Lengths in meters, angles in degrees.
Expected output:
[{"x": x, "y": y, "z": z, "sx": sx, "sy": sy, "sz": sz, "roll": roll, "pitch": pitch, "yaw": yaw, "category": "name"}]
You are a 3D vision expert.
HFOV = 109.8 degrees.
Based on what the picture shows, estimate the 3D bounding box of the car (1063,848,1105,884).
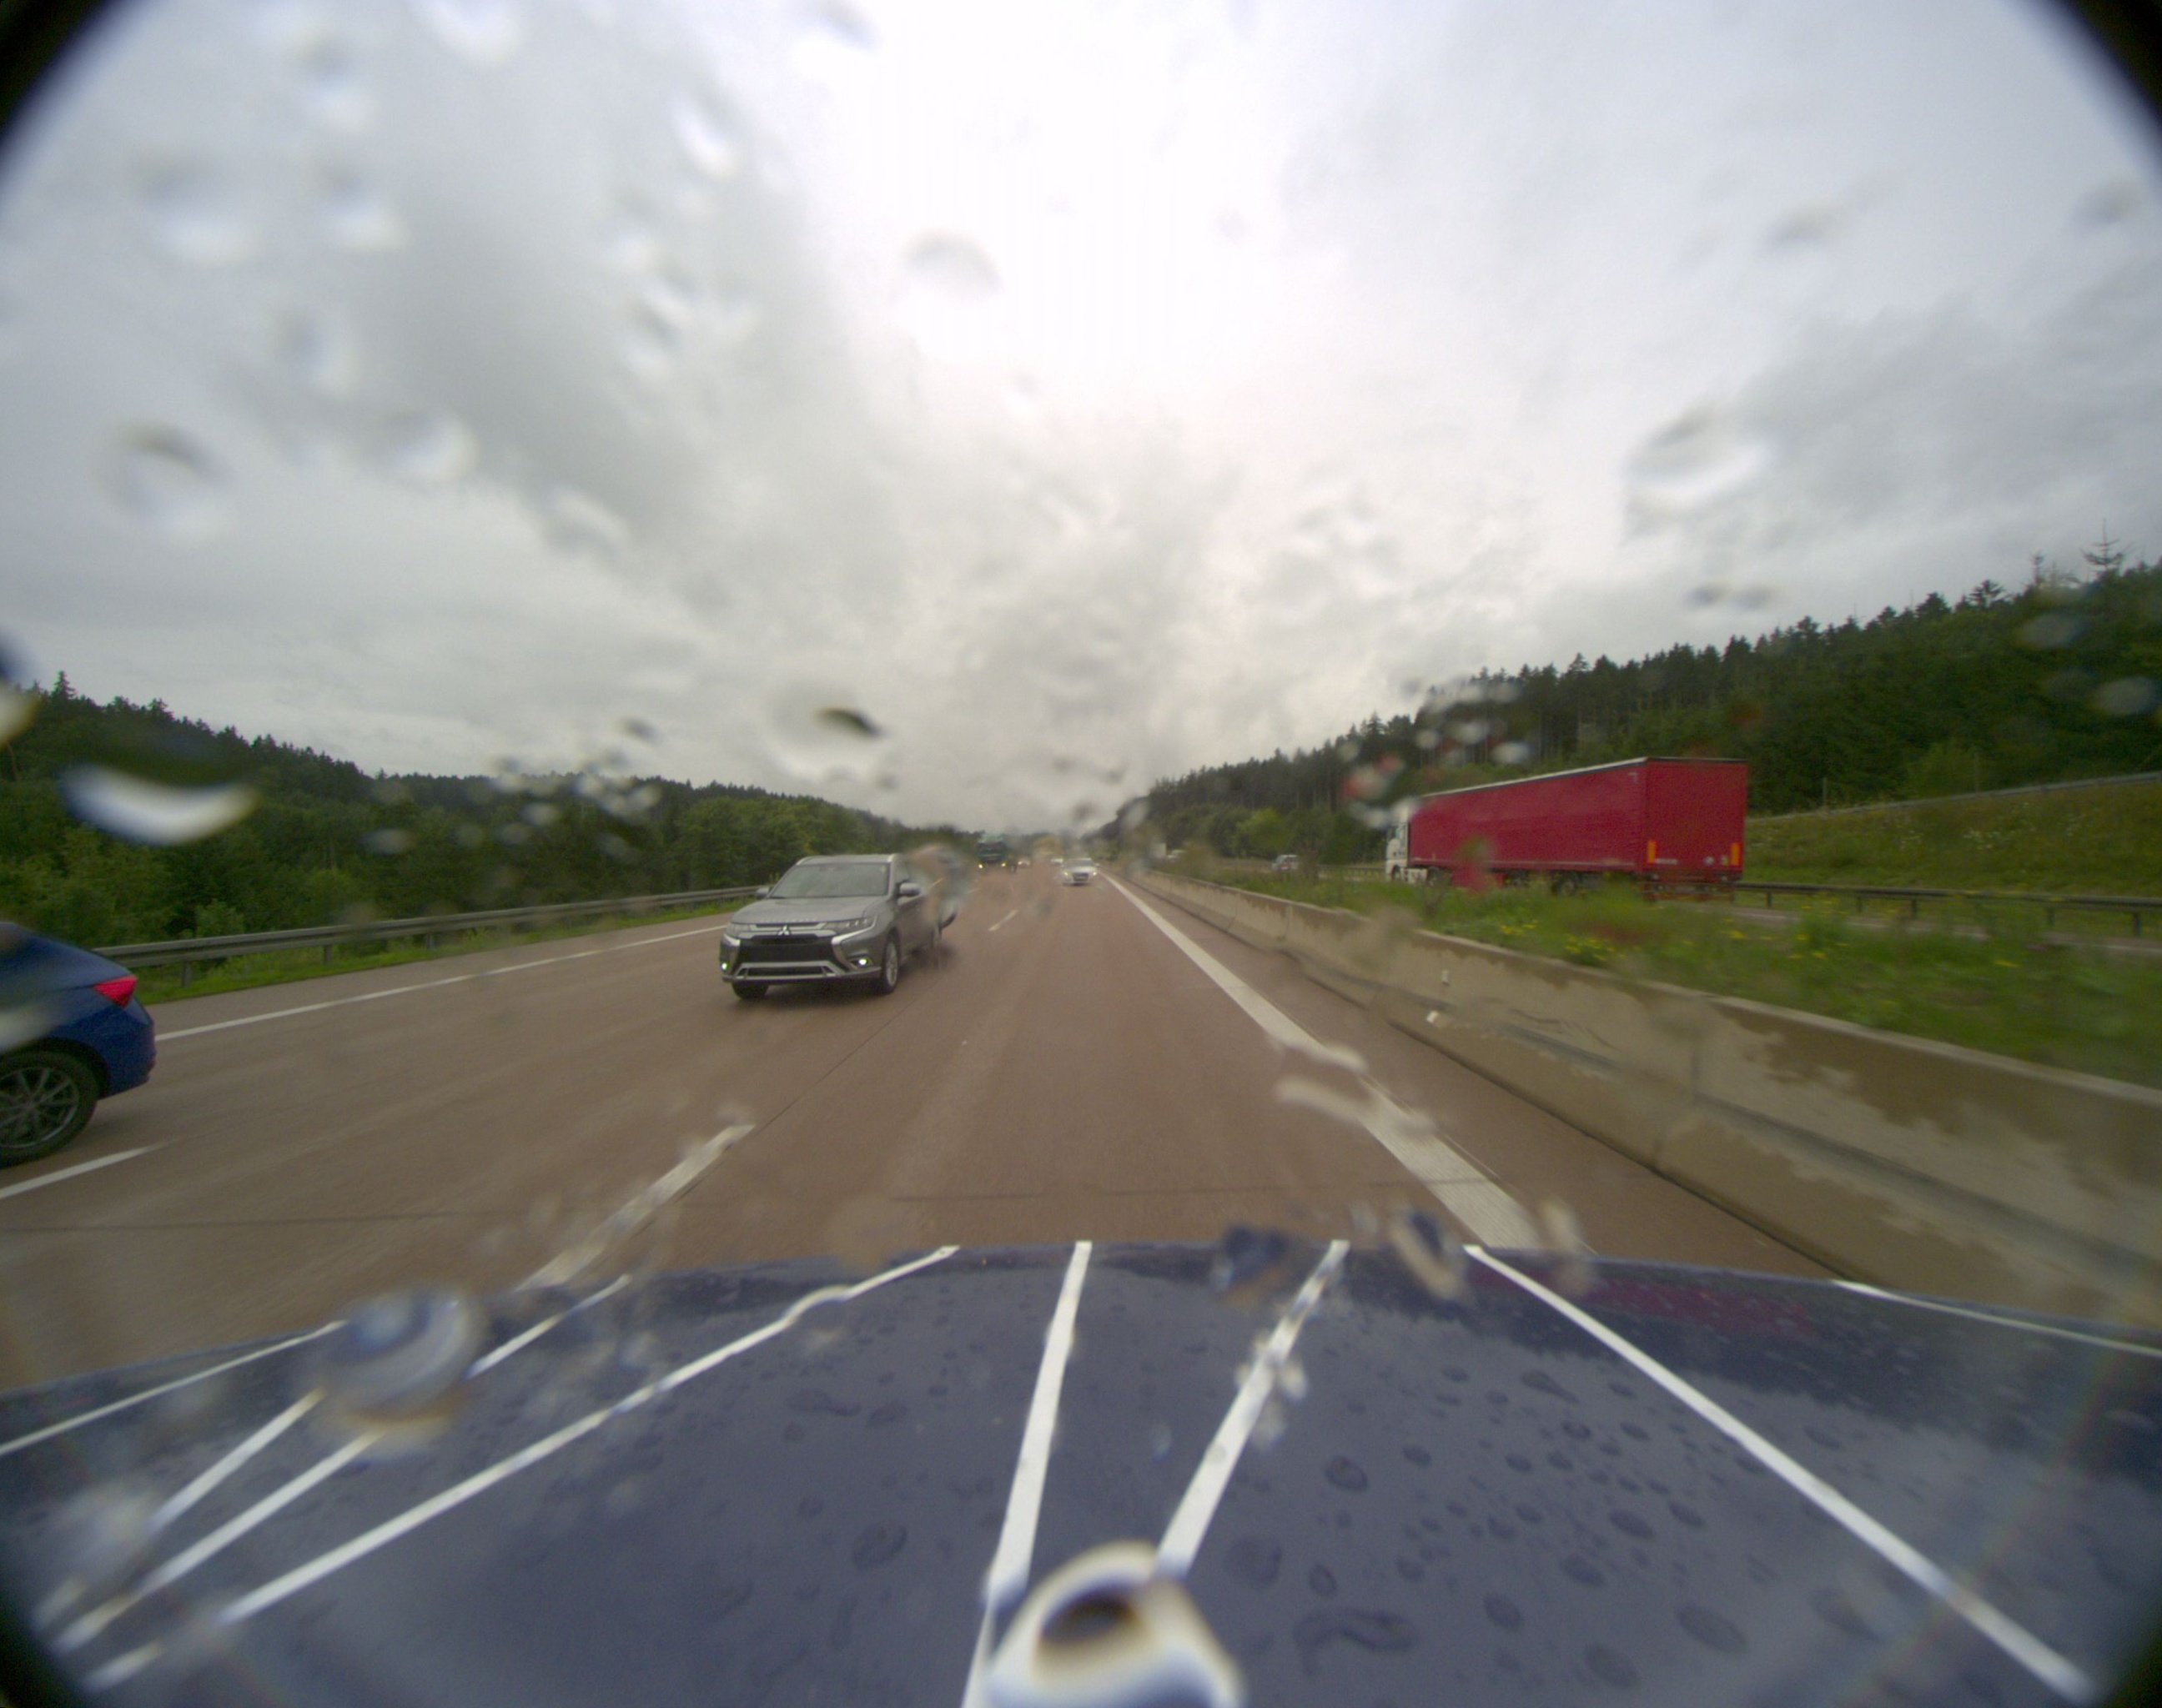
[{"x": 0.105, "y": 0.586, "z": 40.916, "sx": 1.999, "sy": 1.623, "sz": 4.929, "roll": -3, "pitch": 1, "yaw": -2, "category": "car"}]

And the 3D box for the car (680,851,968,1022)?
[{"x": -3.114, "y": 0.859, "z": 10.851, "sx": 1.998, "sy": 1.584, "sz": 5.818, "roll": -3, "pitch": 1, "yaw": 1, "category": "car"}]

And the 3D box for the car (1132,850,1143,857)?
[{"x": 11.573, "y": -0.108, "z": 155.384, "sx": 1.696, "sy": 1.548, "sz": 5.676, "roll": 0, "pitch": 0, "yaw": 0, "category": "car"}]

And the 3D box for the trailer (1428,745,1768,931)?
[{"x": 15.474, "y": -0.543, "z": 24.641, "sx": 2.948, "sy": 4.463, "sz": 11.771, "roll": -3, "pitch": 1, "yaw": 0, "category": "trailer"}]

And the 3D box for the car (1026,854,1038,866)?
[{"x": -7.350, "y": 0.915, "z": 113.683, "sx": 1.703, "sy": 1.602, "sz": 4.974, "roll": -2, "pitch": 1, "yaw": -3, "category": "car"}]

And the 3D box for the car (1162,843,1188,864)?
[{"x": 8.682, "y": -0.115, "z": 70.546, "sx": 1.707, "sy": 1.775, "sz": 4.411, "roll": -3, "pitch": 1, "yaw": -2, "category": "car"}]

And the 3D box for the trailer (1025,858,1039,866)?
[{"x": -7.591, "y": 1.189, "z": 118.407, "sx": 1.977, "sy": 1.159, "sz": 4.638, "roll": -3, "pitch": 0, "yaw": -3, "category": "trailer"}]

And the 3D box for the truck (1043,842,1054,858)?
[{"x": -8.597, "y": -1.139, "z": 201.601, "sx": 2.610, "sy": 4.190, "sz": 6.247, "roll": -3, "pitch": 2, "yaw": -2, "category": "truck"}]

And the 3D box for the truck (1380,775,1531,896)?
[{"x": 15.501, "y": -0.762, "z": 32.129, "sx": 2.957, "sy": 4.452, "sz": 6.790, "roll": -3, "pitch": 2, "yaw": 0, "category": "truck"}]

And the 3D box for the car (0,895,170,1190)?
[{"x": -6.813, "y": 1.127, "z": 2.812, "sx": 1.776, "sy": 1.555, "sz": 4.145, "roll": -3, "pitch": 1, "yaw": 0, "category": "car"}]

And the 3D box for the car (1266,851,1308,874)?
[{"x": 15.541, "y": 0.616, "z": 57.576, "sx": 1.998, "sy": 1.566, "sz": 4.523, "roll": -1, "pitch": 1, "yaw": 0, "category": "car"}]

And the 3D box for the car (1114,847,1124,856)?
[{"x": 7.608, "y": -0.529, "z": 151.234, "sx": 1.674, "sy": 1.656, "sz": 4.475, "roll": -3, "pitch": 1, "yaw": 0, "category": "car"}]

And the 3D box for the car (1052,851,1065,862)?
[{"x": -3.786, "y": 0.441, "z": 126.575, "sx": 1.999, "sy": 1.623, "sz": 4.929, "roll": -3, "pitch": 1, "yaw": -2, "category": "car"}]

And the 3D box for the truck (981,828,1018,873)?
[{"x": -7.643, "y": -0.376, "z": 72.003, "sx": 2.905, "sy": 3.942, "sz": 6.985, "roll": -3, "pitch": 2, "yaw": -2, "category": "truck"}]

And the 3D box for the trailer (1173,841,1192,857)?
[{"x": 15.971, "y": -0.753, "z": 119.866, "sx": 2.283, "sy": 2.397, "sz": 5.437, "roll": 1, "pitch": 0, "yaw": 0, "category": "trailer"}]

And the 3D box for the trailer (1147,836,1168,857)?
[{"x": 15.476, "y": -1.610, "z": 154.793, "sx": 2.746, "sy": 4.116, "sz": 12.751, "roll": 0, "pitch": 1, "yaw": 0, "category": "trailer"}]

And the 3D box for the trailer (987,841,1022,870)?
[{"x": -7.913, "y": 0.056, "z": 79.971, "sx": 2.889, "sy": 2.660, "sz": 11.393, "roll": -3, "pitch": 1, "yaw": -2, "category": "trailer"}]
